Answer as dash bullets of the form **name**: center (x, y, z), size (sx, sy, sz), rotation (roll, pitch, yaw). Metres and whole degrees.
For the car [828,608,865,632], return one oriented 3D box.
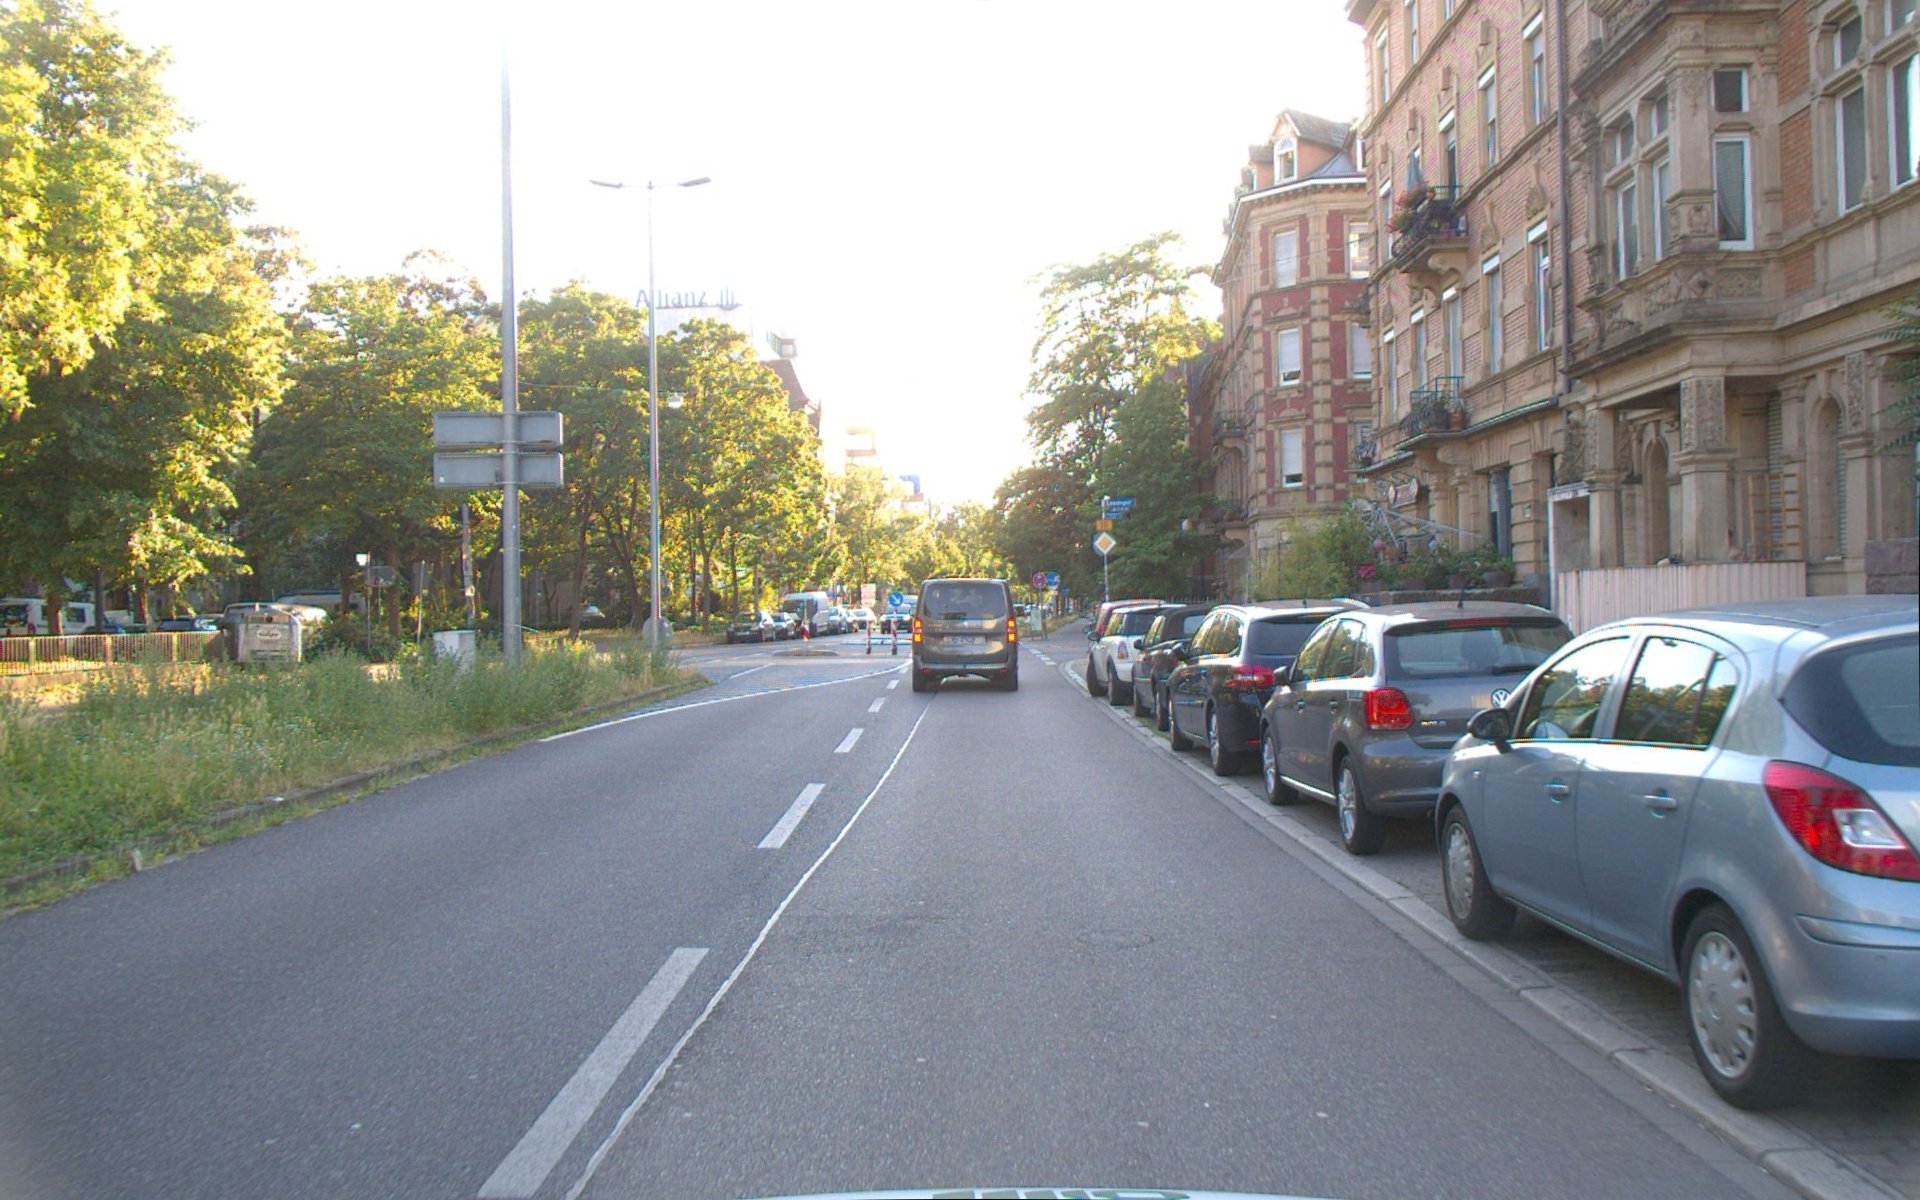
- **car**: center (-7.172, 1.248, 104.817), size (1.699, 1.471, 4.627), rotation (-1, 0, 4)

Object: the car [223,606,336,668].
- **car**: center (-20.858, 1.106, 50.873), size (1.781, 1.826, 4.000), rotation (0, 0, 1)

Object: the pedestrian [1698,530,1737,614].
- **pedestrian**: center (9.519, -0.346, 20.786), size (0.395, 1.047, 0.319), rotation (0, 0, 33)

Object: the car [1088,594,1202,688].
- **car**: center (3.331, 0.712, 30.366), size (1.691, 1.490, 3.547), rotation (-5, 0, 2)

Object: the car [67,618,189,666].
- **car**: center (-25.590, 1.264, 51.025), size (1.697, 1.355, 4.000), rotation (0, 0, 1)

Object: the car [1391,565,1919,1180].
- **car**: center (3.065, 0.683, 6.251), size (1.666, 1.513, 3.891), rotation (-5, 0, -2)

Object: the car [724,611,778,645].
- **car**: center (-9.848, 1.301, 78.325), size (1.589, 1.533, 4.546), rotation (-2, 0, 5)

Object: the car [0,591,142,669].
- **car**: center (-28.140, 0.903, 51.705), size (2.168, 2.329, 5.102), rotation (0, 0, 7)

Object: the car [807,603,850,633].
- **car**: center (-7.865, 1.074, 99.321), size (1.826, 1.673, 4.573), rotation (-2, 0, 4)

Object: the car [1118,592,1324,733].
- **car**: center (3.177, 0.719, 20.975), size (1.849, 1.451, 4.342), rotation (-5, 0, 0)

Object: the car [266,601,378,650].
- **car**: center (-34.388, 1.359, 89.243), size (2.230, 2.529, 5.210), rotation (-1, 0, 38)

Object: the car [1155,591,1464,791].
- **car**: center (3.102, 0.748, 15.661), size (1.849, 1.473, 4.463), rotation (-5, 0, -1)

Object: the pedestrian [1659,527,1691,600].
- **pedestrian**: center (8.742, -0.442, 20.225), size (0.303, 0.885, 0.319), rotation (0, 0, 33)

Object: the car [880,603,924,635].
- **car**: center (-3.417, 1.125, 98.578), size (1.837, 1.735, 4.570), rotation (-4, -1, 6)

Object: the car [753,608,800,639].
- **car**: center (-9.342, 1.158, 84.311), size (1.594, 1.454, 4.244), rotation (-2, 0, 4)

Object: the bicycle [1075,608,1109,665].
- **bicycle**: center (3.207, 0.897, 40.425), size (0.554, 1.321, 2.264), rotation (-5, -2, 0)

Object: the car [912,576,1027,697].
- **car**: center (0.145, 0.606, 29.445), size (1.849, 1.958, 3.839), rotation (-2, 0, -1)

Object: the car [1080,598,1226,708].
- **car**: center (2.899, 0.764, 25.520), size (1.643, 1.451, 3.675), rotation (-5, 0, -1)

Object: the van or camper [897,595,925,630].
- **van or camper**: center (-3.912, 0.968, 132.750), size (1.952, 2.715, 6.039), rotation (1, 0, 1)

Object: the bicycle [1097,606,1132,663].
- **bicycle**: center (3.773, 0.856, 40.432), size (0.554, 1.297, 2.264), rotation (-5, -2, 0)

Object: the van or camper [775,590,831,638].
- **van or camper**: center (-8.667, 0.767, 91.931), size (2.047, 2.511, 6.308), rotation (-2, 0, 4)

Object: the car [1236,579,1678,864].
- **car**: center (3.103, 0.685, 11.180), size (1.712, 1.451, 3.839), rotation (-5, 0, 0)
